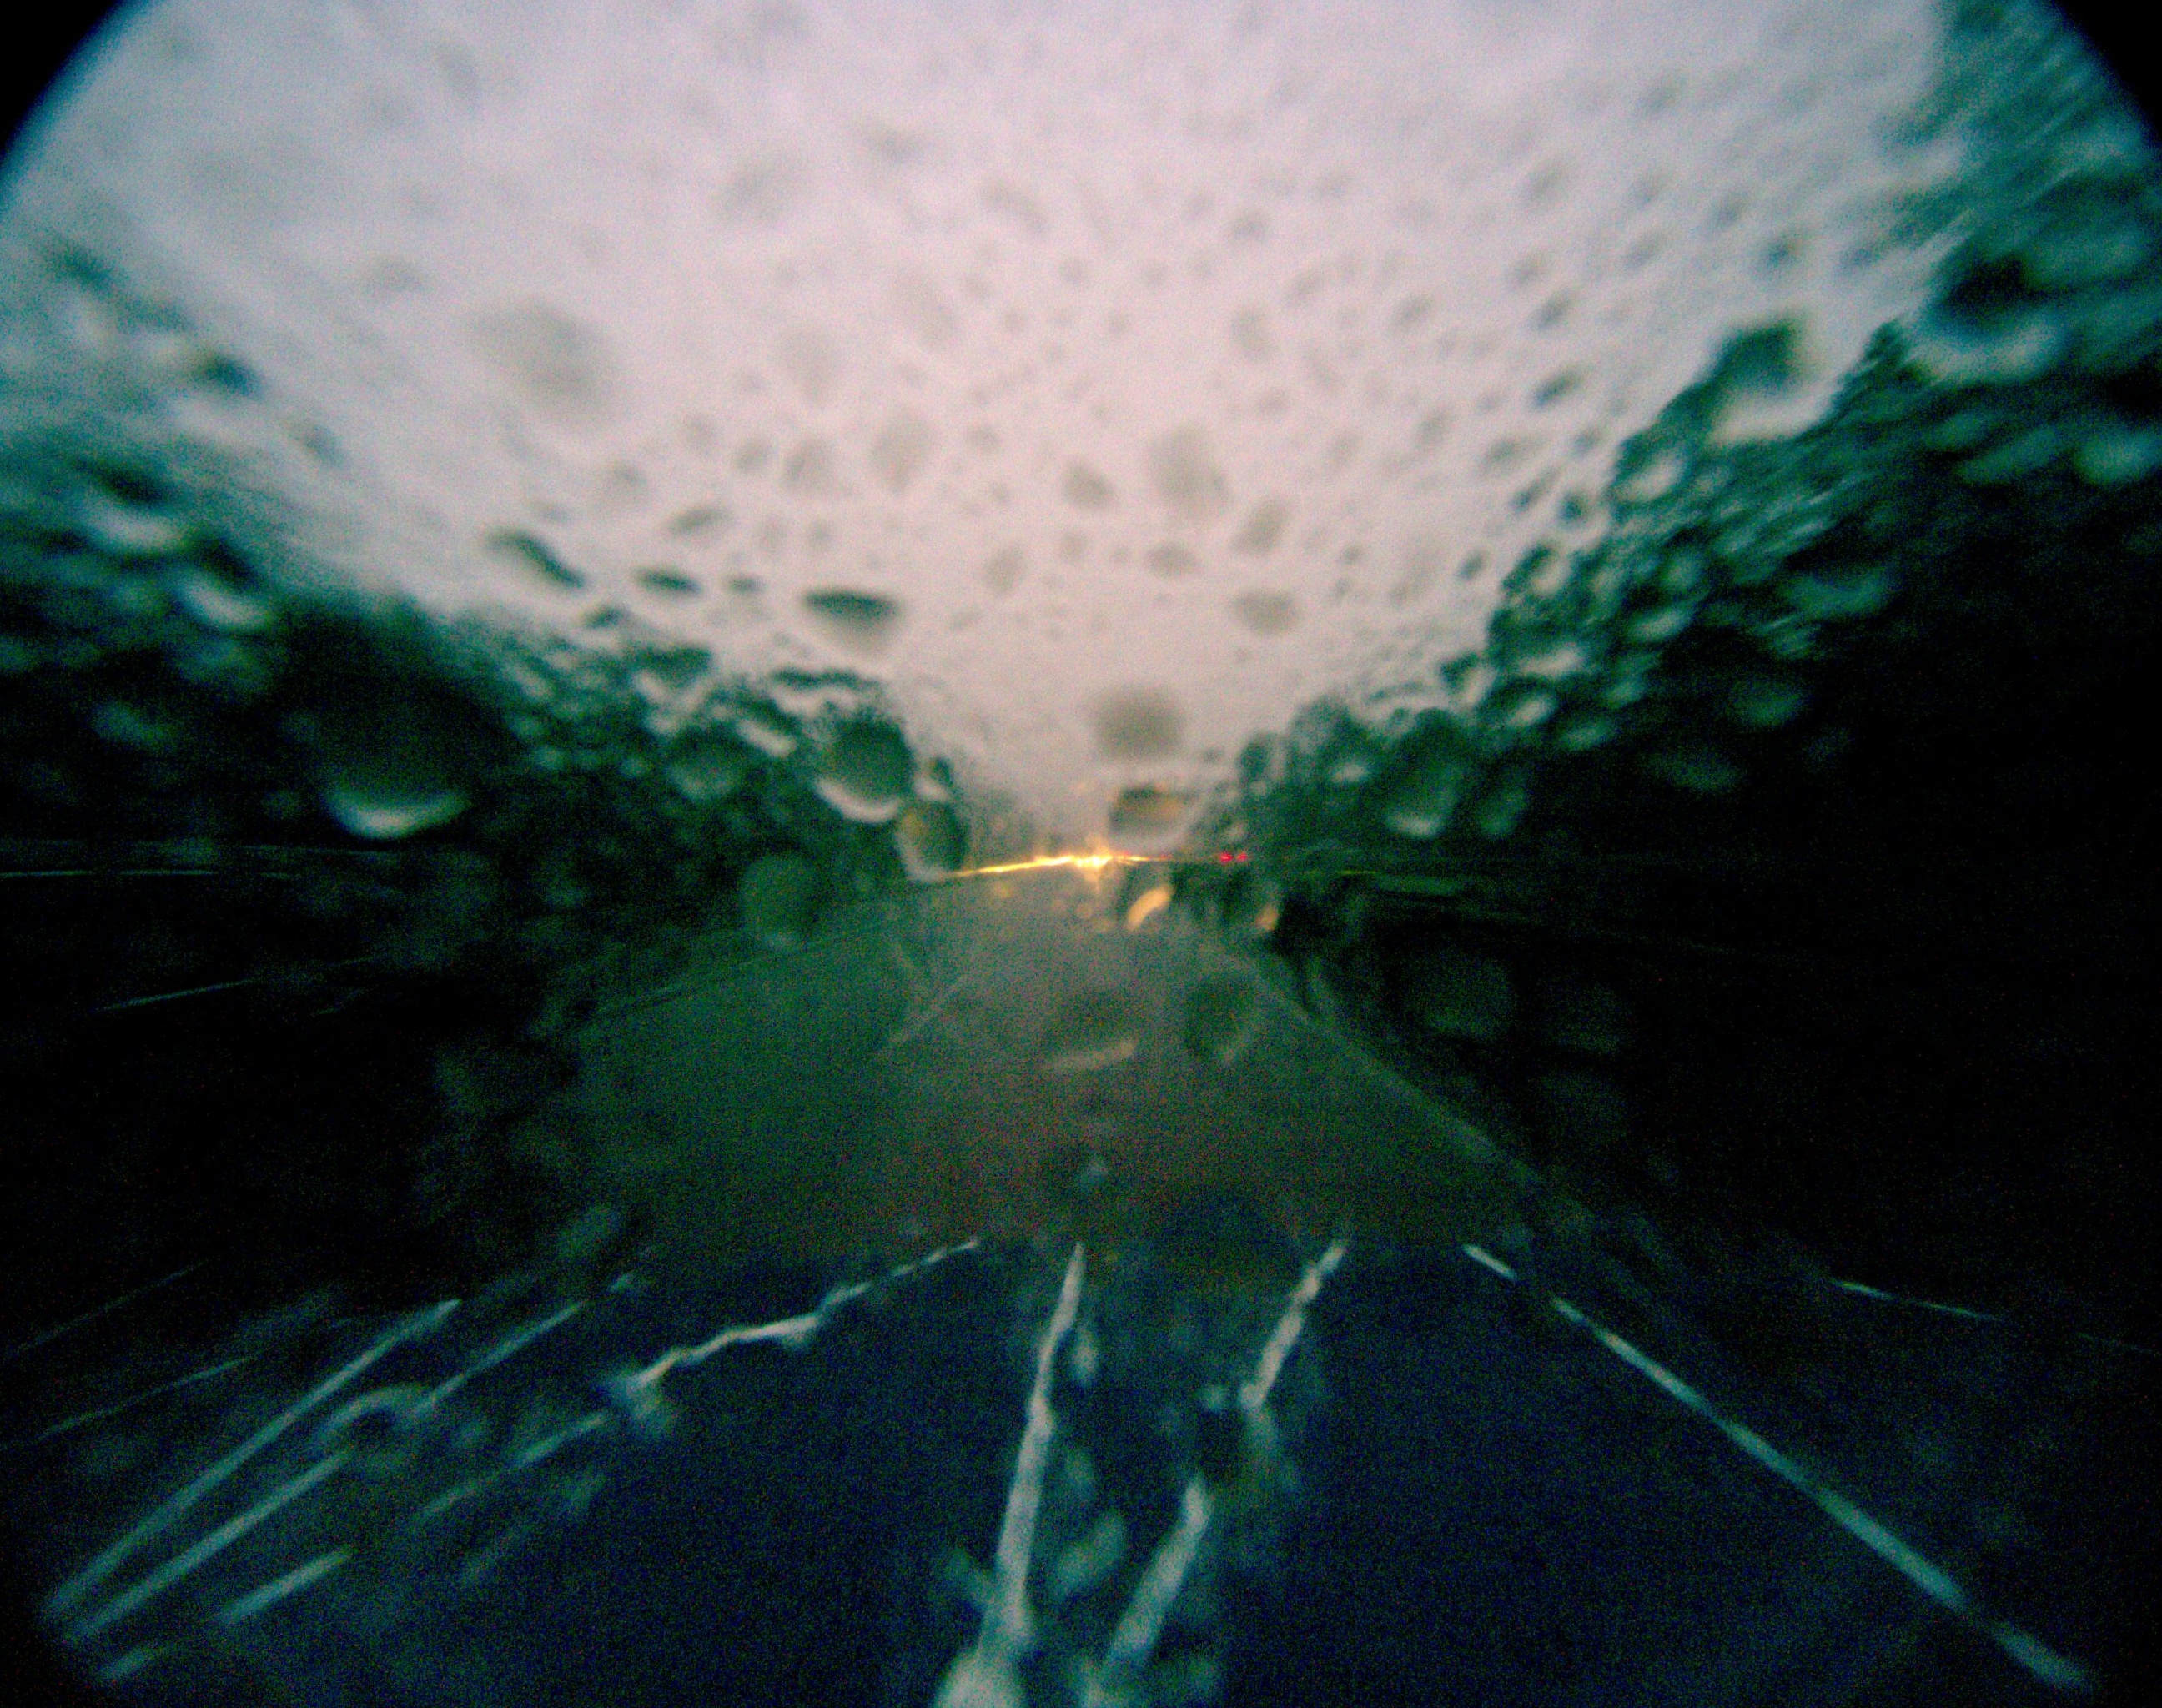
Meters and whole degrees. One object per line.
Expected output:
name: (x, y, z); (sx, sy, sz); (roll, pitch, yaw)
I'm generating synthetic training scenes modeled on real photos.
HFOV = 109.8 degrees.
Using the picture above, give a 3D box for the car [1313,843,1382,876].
car: (12.645, 0.255, 36.301); (1.798, 1.432, 4.041); (-2, 0, -1)

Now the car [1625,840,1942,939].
car: (11.578, 0.504, 12.959); (1.680, 1.381, 3.981); (-2, 0, -1)

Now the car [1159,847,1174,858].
car: (14.854, -0.324, 132.389); (1.998, 1.565, 4.271); (-5, 2, 1)

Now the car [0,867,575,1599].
car: (-3.613, 0.948, 1.589); (2.075, 1.688, 4.460); (-2, 0, 0)

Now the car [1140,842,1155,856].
car: (10.660, -0.803, 121.856); (1.937, 2.002, 4.639); (-2, 0, 1)

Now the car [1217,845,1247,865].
car: (13.171, 0.099, 66.519); (1.817, 1.681, 4.000); (-2, 0, 1)
